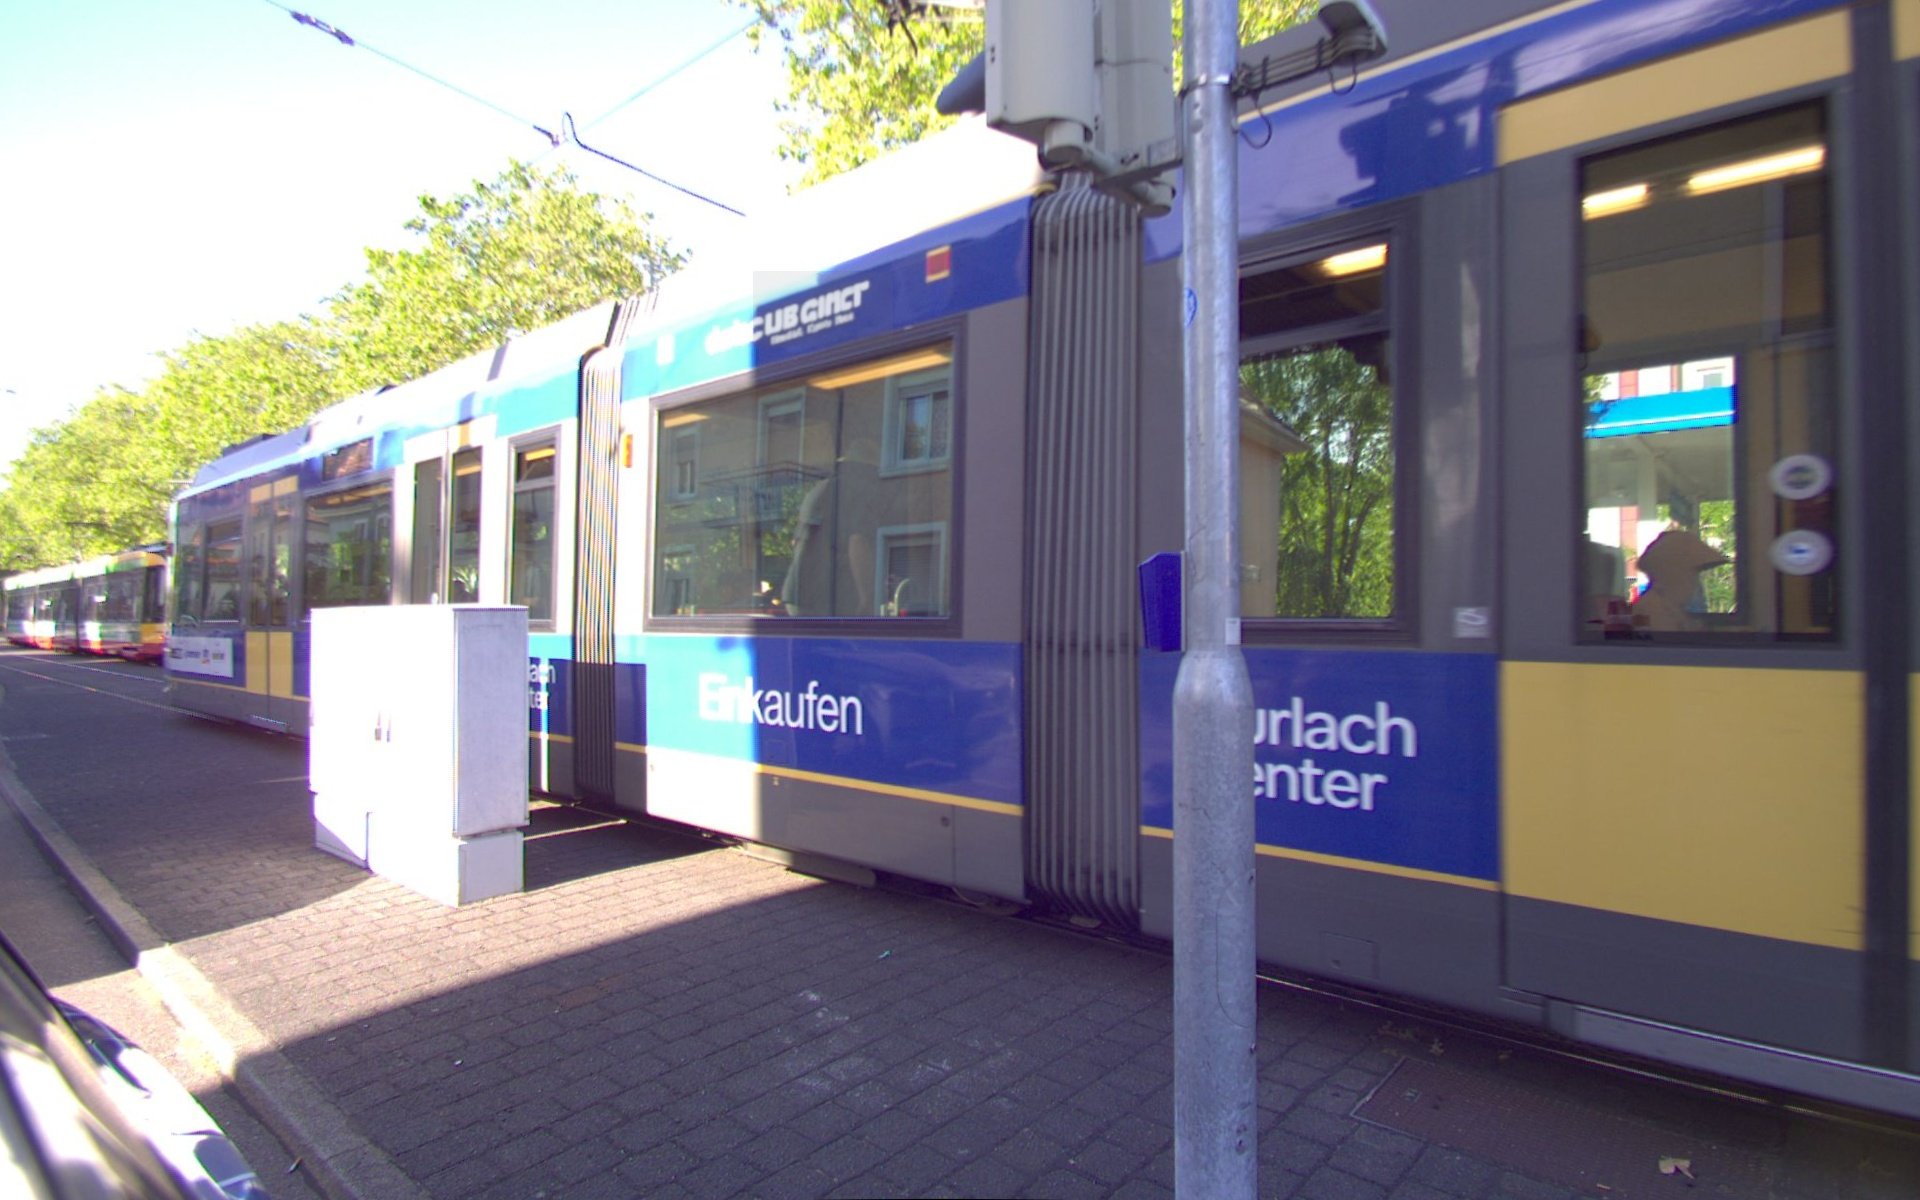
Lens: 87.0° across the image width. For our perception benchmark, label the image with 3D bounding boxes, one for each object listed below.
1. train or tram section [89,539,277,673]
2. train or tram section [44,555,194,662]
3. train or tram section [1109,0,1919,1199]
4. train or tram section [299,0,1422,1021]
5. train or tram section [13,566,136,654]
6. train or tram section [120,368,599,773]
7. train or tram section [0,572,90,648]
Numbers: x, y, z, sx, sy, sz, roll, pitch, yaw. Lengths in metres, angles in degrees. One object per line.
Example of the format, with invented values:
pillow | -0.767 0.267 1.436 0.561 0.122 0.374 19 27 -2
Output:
train or tram section | -24.020 0.193 30.997 10.181 3.503 2.824 -1 0 43
train or tram section | -31.594 0.318 37.810 10.179 3.503 2.806 -1 0 42
train or tram section | 5.921 -0.525 0.426 12.023 3.526 2.741 -2 -2 41
train or tram section | -1.672 -0.343 7.078 8.458 3.526 2.785 -2 -2 41
train or tram section | -39.098 0.440 44.517 10.179 3.503 2.806 -1 0 41
train or tram section | -7.780 -0.171 12.488 7.959 3.526 2.785 -2 -2 41
train or tram section | -46.793 0.502 51.226 10.179 3.503 2.806 -1 0 41
